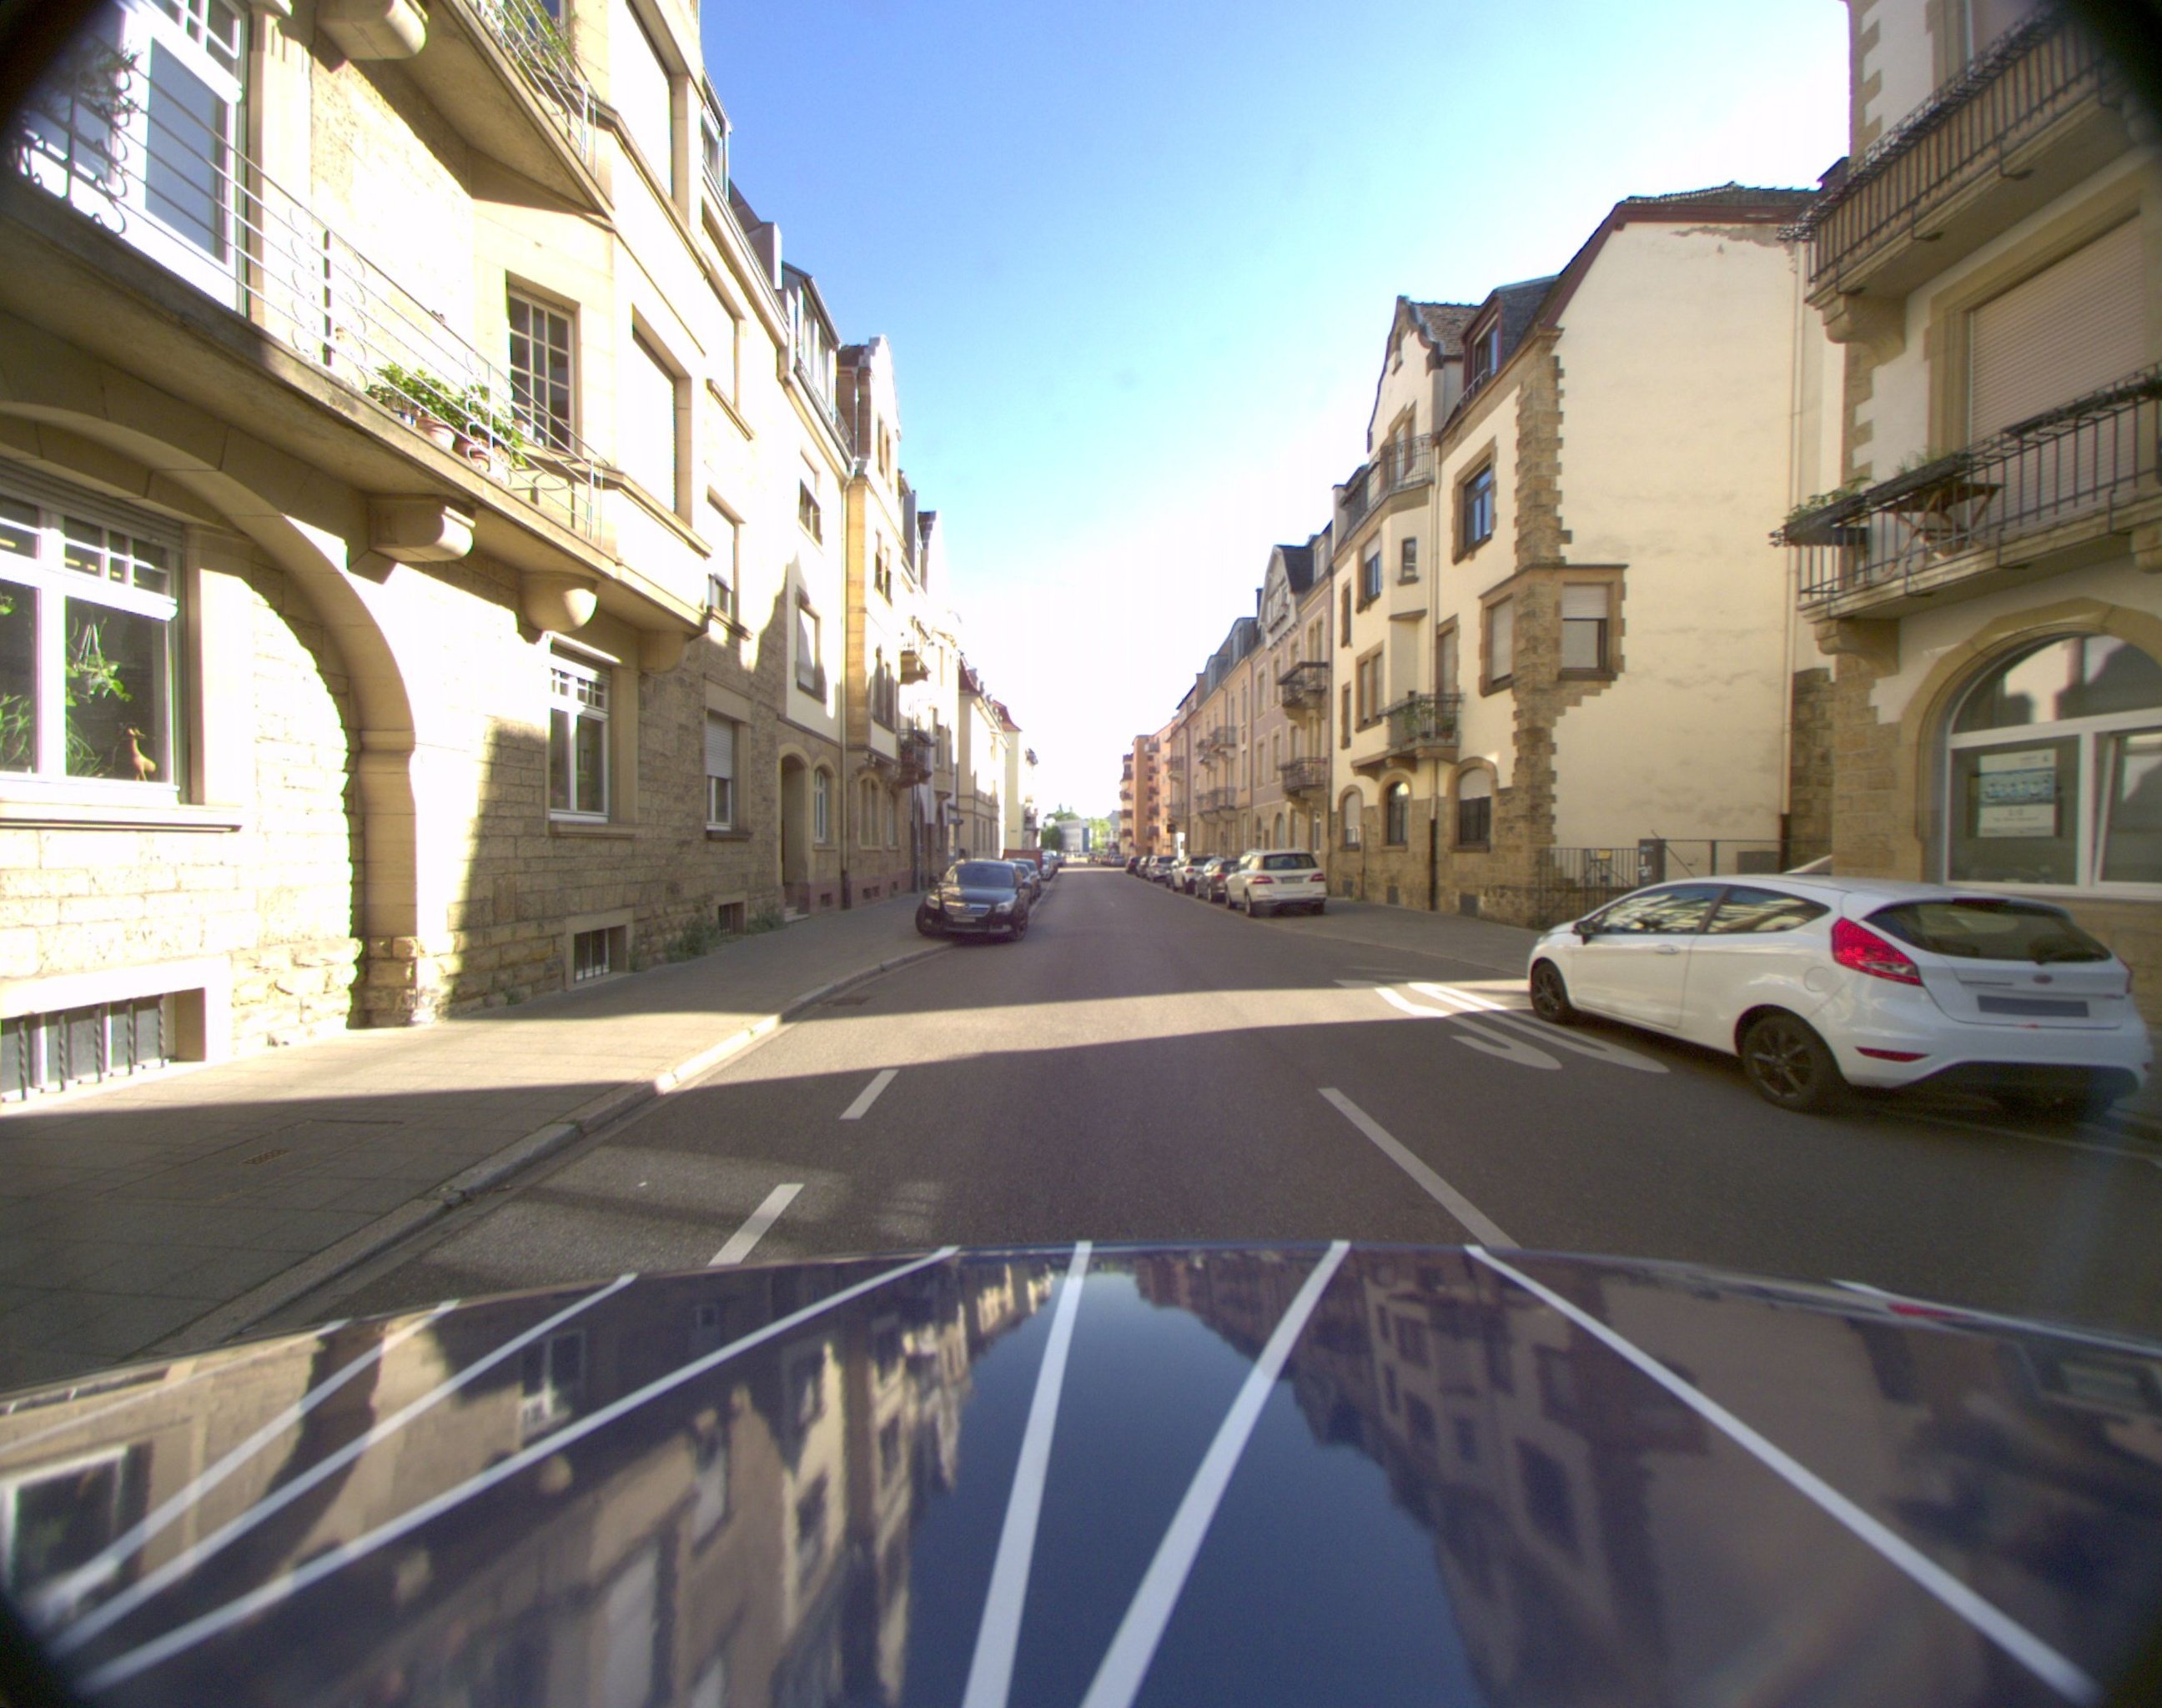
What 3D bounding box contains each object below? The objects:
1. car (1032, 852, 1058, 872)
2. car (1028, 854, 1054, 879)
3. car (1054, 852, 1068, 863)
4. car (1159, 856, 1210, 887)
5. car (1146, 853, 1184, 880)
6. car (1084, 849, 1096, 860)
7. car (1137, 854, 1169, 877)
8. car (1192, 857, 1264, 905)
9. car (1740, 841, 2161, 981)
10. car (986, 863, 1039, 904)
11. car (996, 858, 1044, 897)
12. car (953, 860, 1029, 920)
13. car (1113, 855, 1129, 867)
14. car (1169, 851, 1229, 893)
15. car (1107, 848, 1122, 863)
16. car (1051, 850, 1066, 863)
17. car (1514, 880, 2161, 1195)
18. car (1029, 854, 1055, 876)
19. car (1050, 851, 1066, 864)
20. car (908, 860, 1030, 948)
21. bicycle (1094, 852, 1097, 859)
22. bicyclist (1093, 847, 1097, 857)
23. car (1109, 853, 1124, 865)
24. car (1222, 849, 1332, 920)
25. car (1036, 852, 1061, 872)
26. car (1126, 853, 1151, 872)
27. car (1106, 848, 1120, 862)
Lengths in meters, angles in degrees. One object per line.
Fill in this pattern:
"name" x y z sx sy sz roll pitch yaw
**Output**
"car" -2.763 0.592 59.085 1.684 1.537 3.914 1 0 1
"car" -2.472 0.737 47.629 1.590 1.456 3.711 0 0 -2
"car" -2.653 0.395 99.701 1.708 1.417 3.721 0 0 -2
"car" 5.039 0.823 37.569 1.677 1.385 3.664 -3 0 -5
"car" 5.001 0.722 45.699 1.719 1.529 3.722 -1 0 -2
"car" 1.629 0.016 137.458 1.868 1.926 4.598 0 0 -3
"car" 4.893 0.742 52.391 1.719 1.512 4.109 1 0 -1
"car" 5.058 0.866 26.693 1.578 1.479 4.279 -2 0 -2
"car" 11.835 0.711 10.382 3.978 1.718 1.909 0 0 0
"car" -2.335 0.977 26.431 1.697 1.247 3.939 0 0 -4
"car" -2.426 0.879 30.442 1.791 1.421 3.806 0 0 -4
"car" -2.383 0.916 20.963 1.655 1.434 4.257 1 0 -1
"car" 4.787 0.846 91.201 1.678 1.414 3.500 0 0 0
"car" 4.919 0.717 32.184 1.719 1.574 4.019 -3 0 -2
"car" 4.513 0.209 101.950 1.822 1.867 4.111 0 0 -1
"car" -2.759 0.324 93.351 1.708 1.417 3.721 1 1 -1
"car" 5.118 1.008 5.770 1.637 1.455 3.735 0 1 2
"car" -2.670 0.728 53.016 1.657 1.456 4.093 0 0 -1
"car" -2.615 0.370 87.887 1.708 1.417 3.721 1 1 -1
"car" -2.065 0.881 15.236 1.870 1.453 4.338 0 0 -1
"bicycle" 2.337 0.266 125.083 0.541 1.070 1.800 0 0 1
"bicyclist" 2.348 -0.307 125.122 0.609 1.656 0.632 0 1 0
"car" 4.530 0.576 96.191 1.678 1.414 3.285 2 0 0
"car" 5.213 0.747 20.903 1.896 1.712 4.726 -1 0 1
"car" -2.645 0.628 63.518 1.791 1.655 4.434 0 0 1
"car" 4.723 0.663 62.677 1.719 1.378 3.864 -3 0 0
"car" 4.466 0.160 107.838 1.822 1.867 4.111 0 0 0
